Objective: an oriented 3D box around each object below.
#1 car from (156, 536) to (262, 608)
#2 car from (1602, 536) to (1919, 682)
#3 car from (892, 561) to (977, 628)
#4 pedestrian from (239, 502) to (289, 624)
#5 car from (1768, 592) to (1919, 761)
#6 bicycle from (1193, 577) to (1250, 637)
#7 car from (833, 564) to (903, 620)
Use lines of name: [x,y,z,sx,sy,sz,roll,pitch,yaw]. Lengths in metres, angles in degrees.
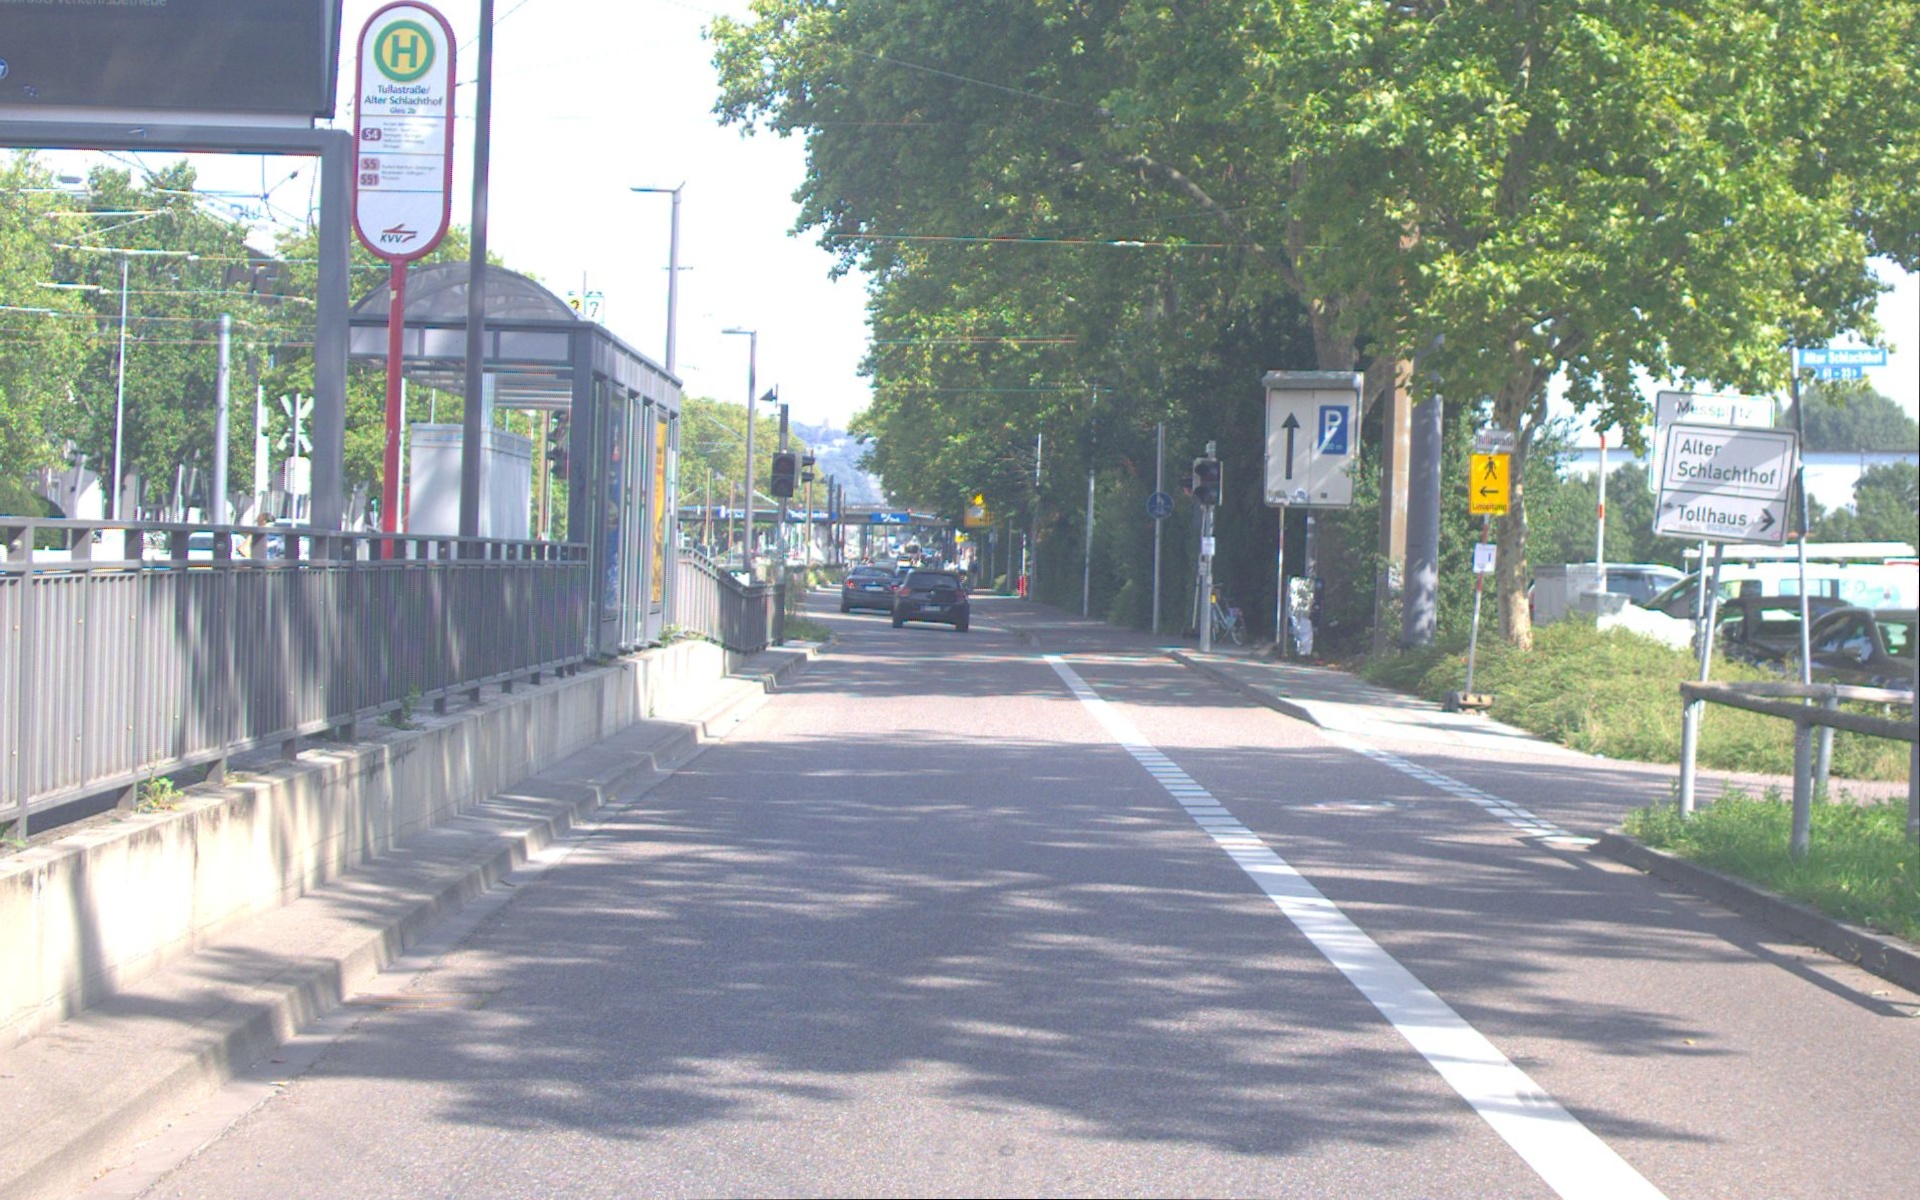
car: [-20.262,-0.765,92.876,1.993,1.831,4.000,2,1,-1]
car: [10.909,0.100,46.543,4.103,1.912,1.847,0,1,2]
car: [-0.622,-0.149,81.104,1.907,1.532,4.000,0,1,-2]
pedestrian: [-10.497,-0.551,51.857,0.707,1.815,0.773,0,-1,-10]
car: [9.186,0.692,32.970,1.728,1.444,4.551,1,1,-1]
bicycle: [4.697,0.112,61.946,0.610,1.018,2.403,2,1,-5]
car: [-2.683,-0.245,100.081,1.973,1.532,4.000,-2,1,-2]
